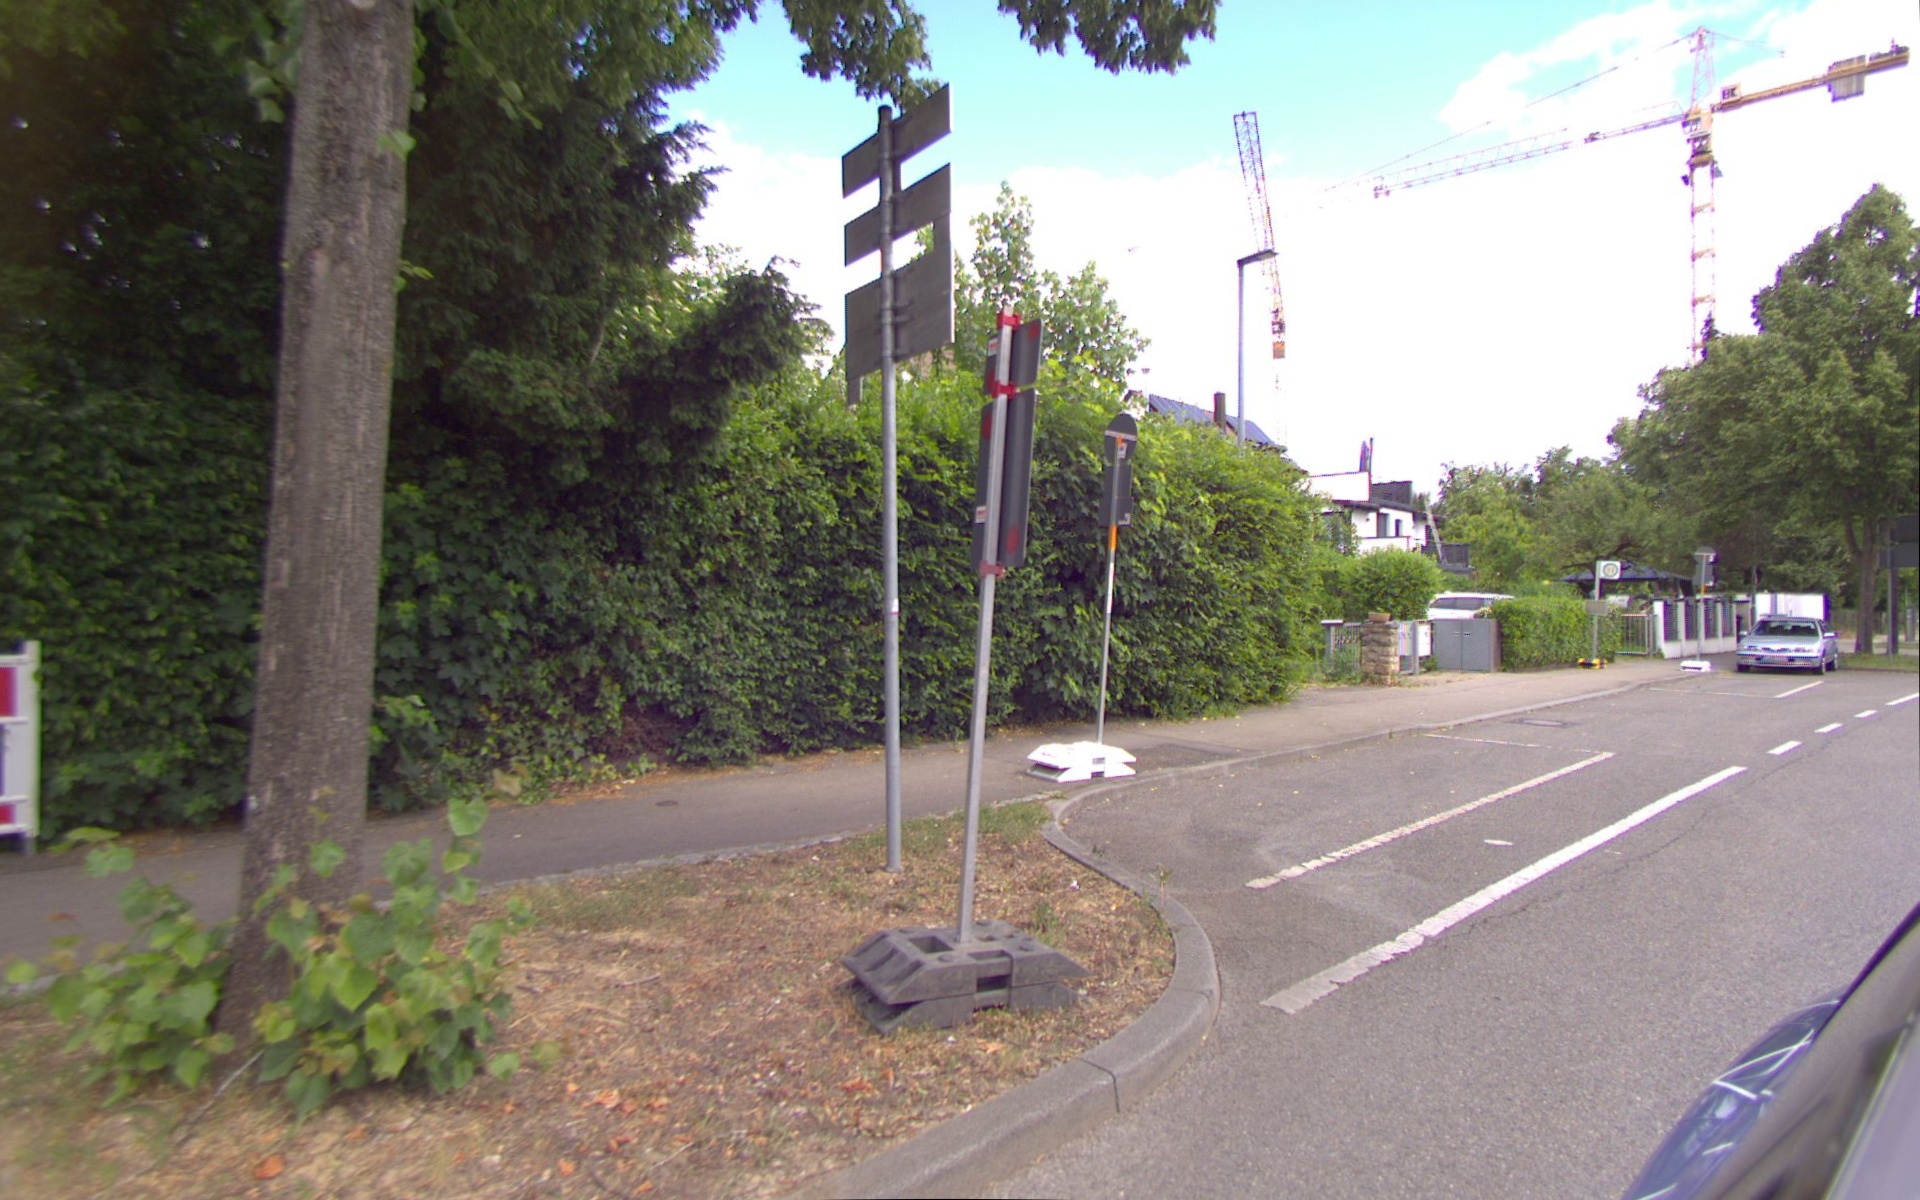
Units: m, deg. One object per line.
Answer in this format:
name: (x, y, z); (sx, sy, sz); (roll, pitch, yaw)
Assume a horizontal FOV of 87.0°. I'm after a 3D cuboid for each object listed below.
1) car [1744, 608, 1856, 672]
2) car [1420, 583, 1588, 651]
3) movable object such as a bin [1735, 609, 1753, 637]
car: (21.511, 0.957, 25.863); (4.312, 1.394, 1.614); (-1, 1, -42)
car: (16.063, 0.459, 29.987); (1.967, 1.846, 3.990); (1, 0, -44)
movable object such as a bin: (28.673, 0.836, 36.991); (0.446, 1.035, 0.437); (1, 0, -41)
